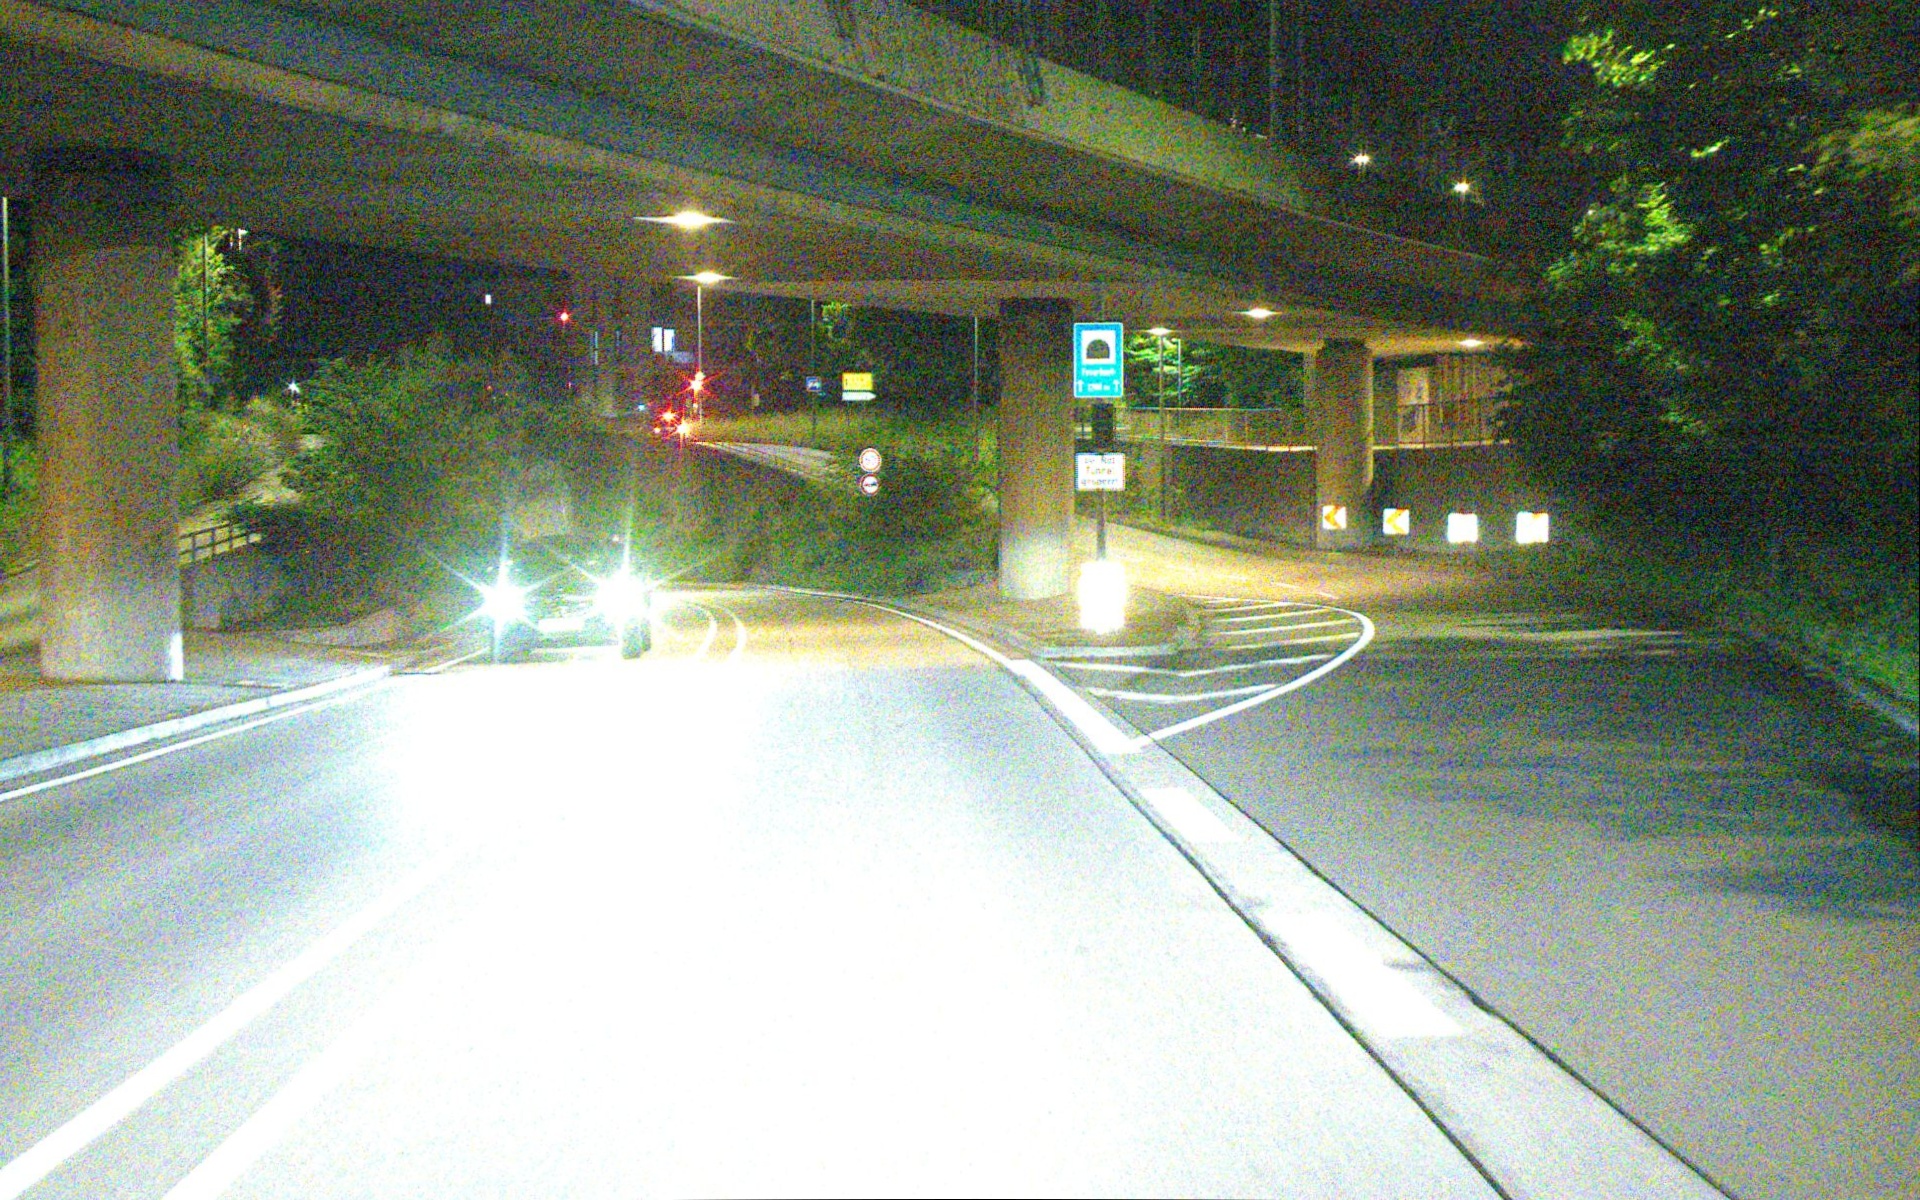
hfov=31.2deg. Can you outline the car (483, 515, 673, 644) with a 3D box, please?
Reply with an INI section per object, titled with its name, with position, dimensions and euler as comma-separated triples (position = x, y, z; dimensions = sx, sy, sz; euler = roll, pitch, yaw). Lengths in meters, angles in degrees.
[car]
position = -4.870, -0.262, 44.317
dimensions = 1.882, 1.549, 4.217
euler = -1, 0, 1
